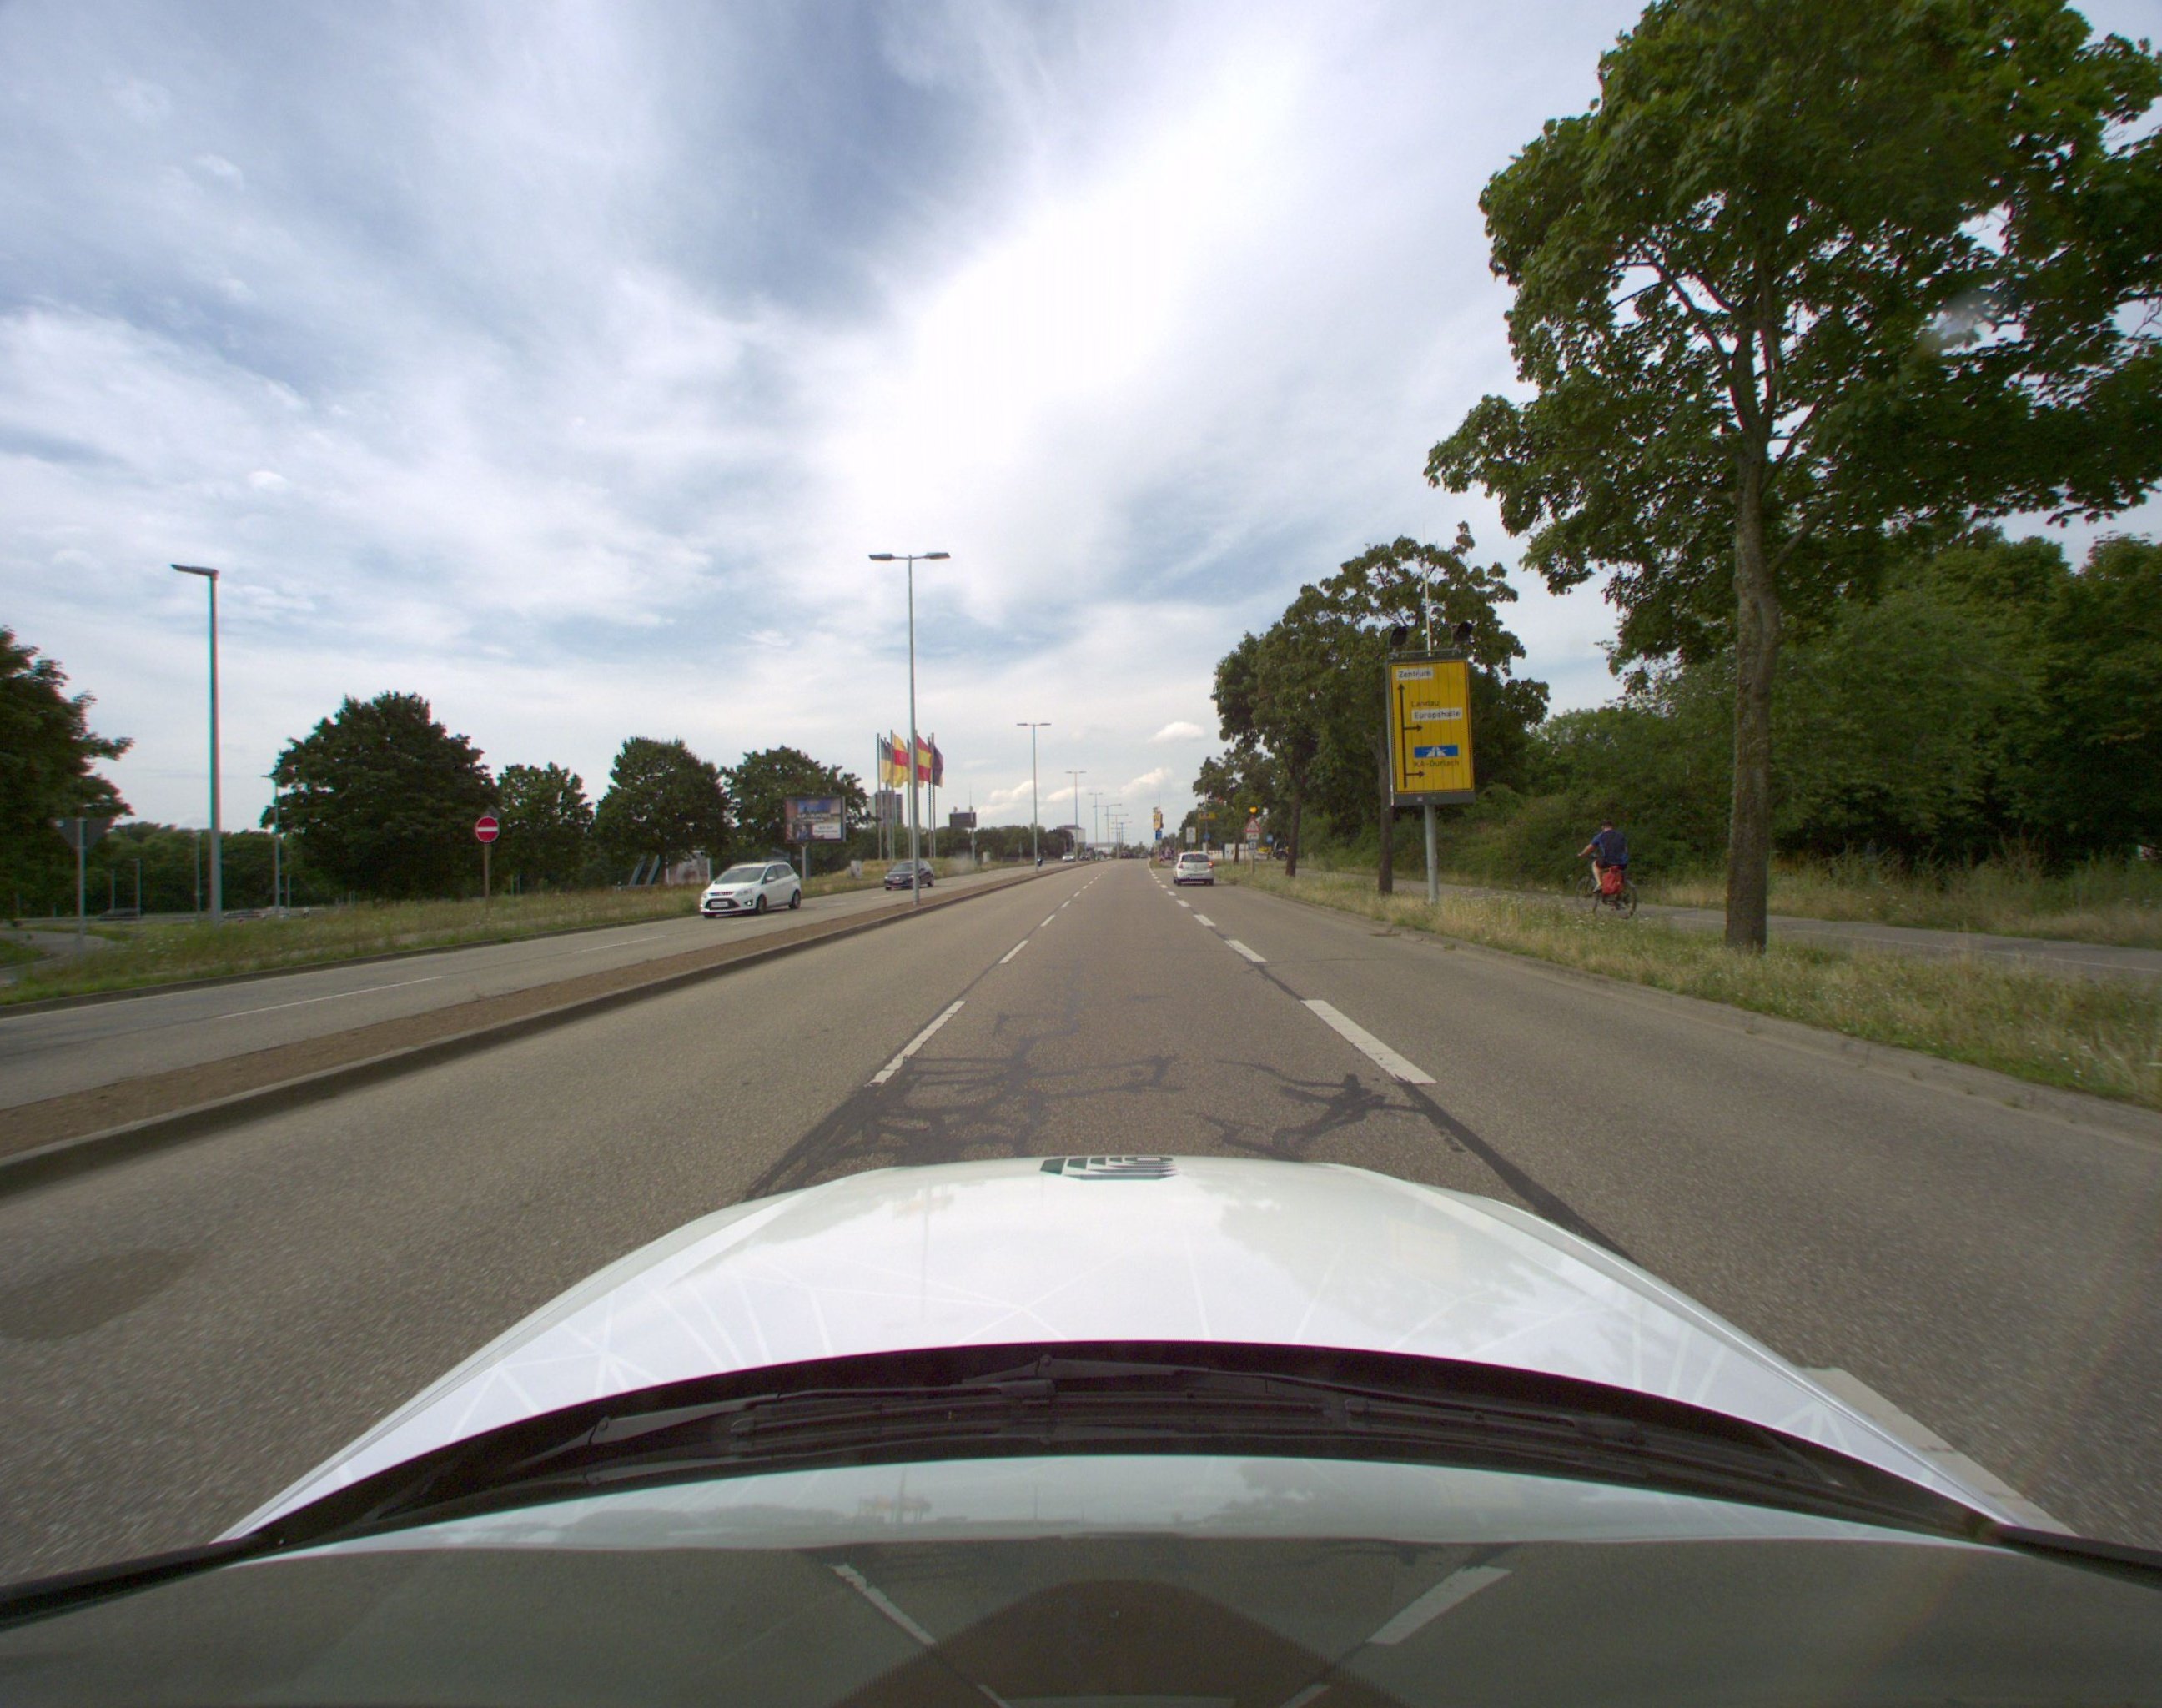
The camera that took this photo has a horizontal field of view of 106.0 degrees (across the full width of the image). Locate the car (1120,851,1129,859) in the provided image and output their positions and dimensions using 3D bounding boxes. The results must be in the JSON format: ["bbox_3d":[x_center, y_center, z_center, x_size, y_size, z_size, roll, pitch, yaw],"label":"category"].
[{"bbox_3d":[8.898,0.211,166.497,1.722,1.653,4.121,-1,-1,5],"label":"car"}]

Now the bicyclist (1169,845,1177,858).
[{"bbox_3d":[10.751,-0.292,95.172,0.741,1.518,0.955,0,-1,-11],"label":"bicyclist"}]

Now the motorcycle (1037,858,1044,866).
[{"bbox_3d":[-5.170,0.963,103.981,0.520,0.967,2.221,-2,0,3],"label":"motorcycle"}]

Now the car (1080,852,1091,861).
[{"bbox_3d":[1.007,0.623,185.619,1.838,1.893,5.514,-4,0,6],"label":"car"}]

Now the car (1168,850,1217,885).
[{"bbox_3d":[5.190,0.602,38.466,1.840,1.502,4.002,-3,0,2],"label":"car"}]

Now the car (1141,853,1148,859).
[{"bbox_3d":[15.698,0.438,201.225,1.723,1.526,4.119,0,-1,4],"label":"car"}]

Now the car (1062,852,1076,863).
[{"bbox_3d":[-2.028,0.605,139.307,1.839,1.601,4.566,-2,1,4],"label":"car"}]

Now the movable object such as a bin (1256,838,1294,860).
[{"bbox_3d":[24.348,-0.660,102.161,4.475,2.689,2.107,0,-1,9],"label":"movable object such as a bin"}]

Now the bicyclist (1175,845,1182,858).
[{"bbox_3d":[11.068,-0.265,92.475,0.738,1.474,0.805,0,-1,-3],"label":"bicyclist"}]

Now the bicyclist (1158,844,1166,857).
[{"bbox_3d":[9.515,-0.366,95.311,0.740,1.518,0.955,0,-1,-8],"label":"bicyclist"}]

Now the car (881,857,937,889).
[{"bbox_3d":[-9.105,0.979,43.396,1.761,1.532,4.743,-3,0,2],"label":"car"}]

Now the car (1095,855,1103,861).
[{"bbox_3d":[4.777,0.956,218.711,1.755,1.441,4.183,-3,0,5],"label":"car"}]

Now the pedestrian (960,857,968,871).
[{"bbox_3d":[-15.154,1.289,105.587,0.862,1.693,0.680,-3,0,3],"label":"pedestrian"}]

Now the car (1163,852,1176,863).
[{"bbox_3d":[14.577,0.588,134.313,1.725,1.653,4.114,-1,-1,0],"label":"car"}]

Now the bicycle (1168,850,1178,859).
[{"bbox_3d":[10.770,0.049,95.154,0.595,1.036,2.188,1,0,-9],"label":"bicycle"}]

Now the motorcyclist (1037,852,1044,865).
[{"bbox_3d":[-5.191,0.540,103.898,0.767,1.588,0.897,-3,0,3],"label":"motorcyclist"}]

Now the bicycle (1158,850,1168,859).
[{"bbox_3d":[9.527,0.002,95.225,0.620,1.006,2.096,1,0,-9],"label":"bicycle"}]

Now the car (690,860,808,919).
[{"bbox_3d":[-10.663,1.061,26.547,1.761,1.653,4.640,-3,0,2],"label":"car"}]

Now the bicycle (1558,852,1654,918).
[{"bbox_3d":[10.004,0.551,15.602,0.571,1.147,1.983,-3,0,2],"label":"bicycle"}]

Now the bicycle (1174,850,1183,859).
[{"bbox_3d":[11.082,0.048,92.399,0.618,1.006,1.785,-3,0,-3],"label":"bicycle"}]

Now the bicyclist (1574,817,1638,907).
[{"bbox_3d":[9.979,0.151,15.508,0.649,1.658,0.876,0,-1,1],"label":"bicyclist"}]
